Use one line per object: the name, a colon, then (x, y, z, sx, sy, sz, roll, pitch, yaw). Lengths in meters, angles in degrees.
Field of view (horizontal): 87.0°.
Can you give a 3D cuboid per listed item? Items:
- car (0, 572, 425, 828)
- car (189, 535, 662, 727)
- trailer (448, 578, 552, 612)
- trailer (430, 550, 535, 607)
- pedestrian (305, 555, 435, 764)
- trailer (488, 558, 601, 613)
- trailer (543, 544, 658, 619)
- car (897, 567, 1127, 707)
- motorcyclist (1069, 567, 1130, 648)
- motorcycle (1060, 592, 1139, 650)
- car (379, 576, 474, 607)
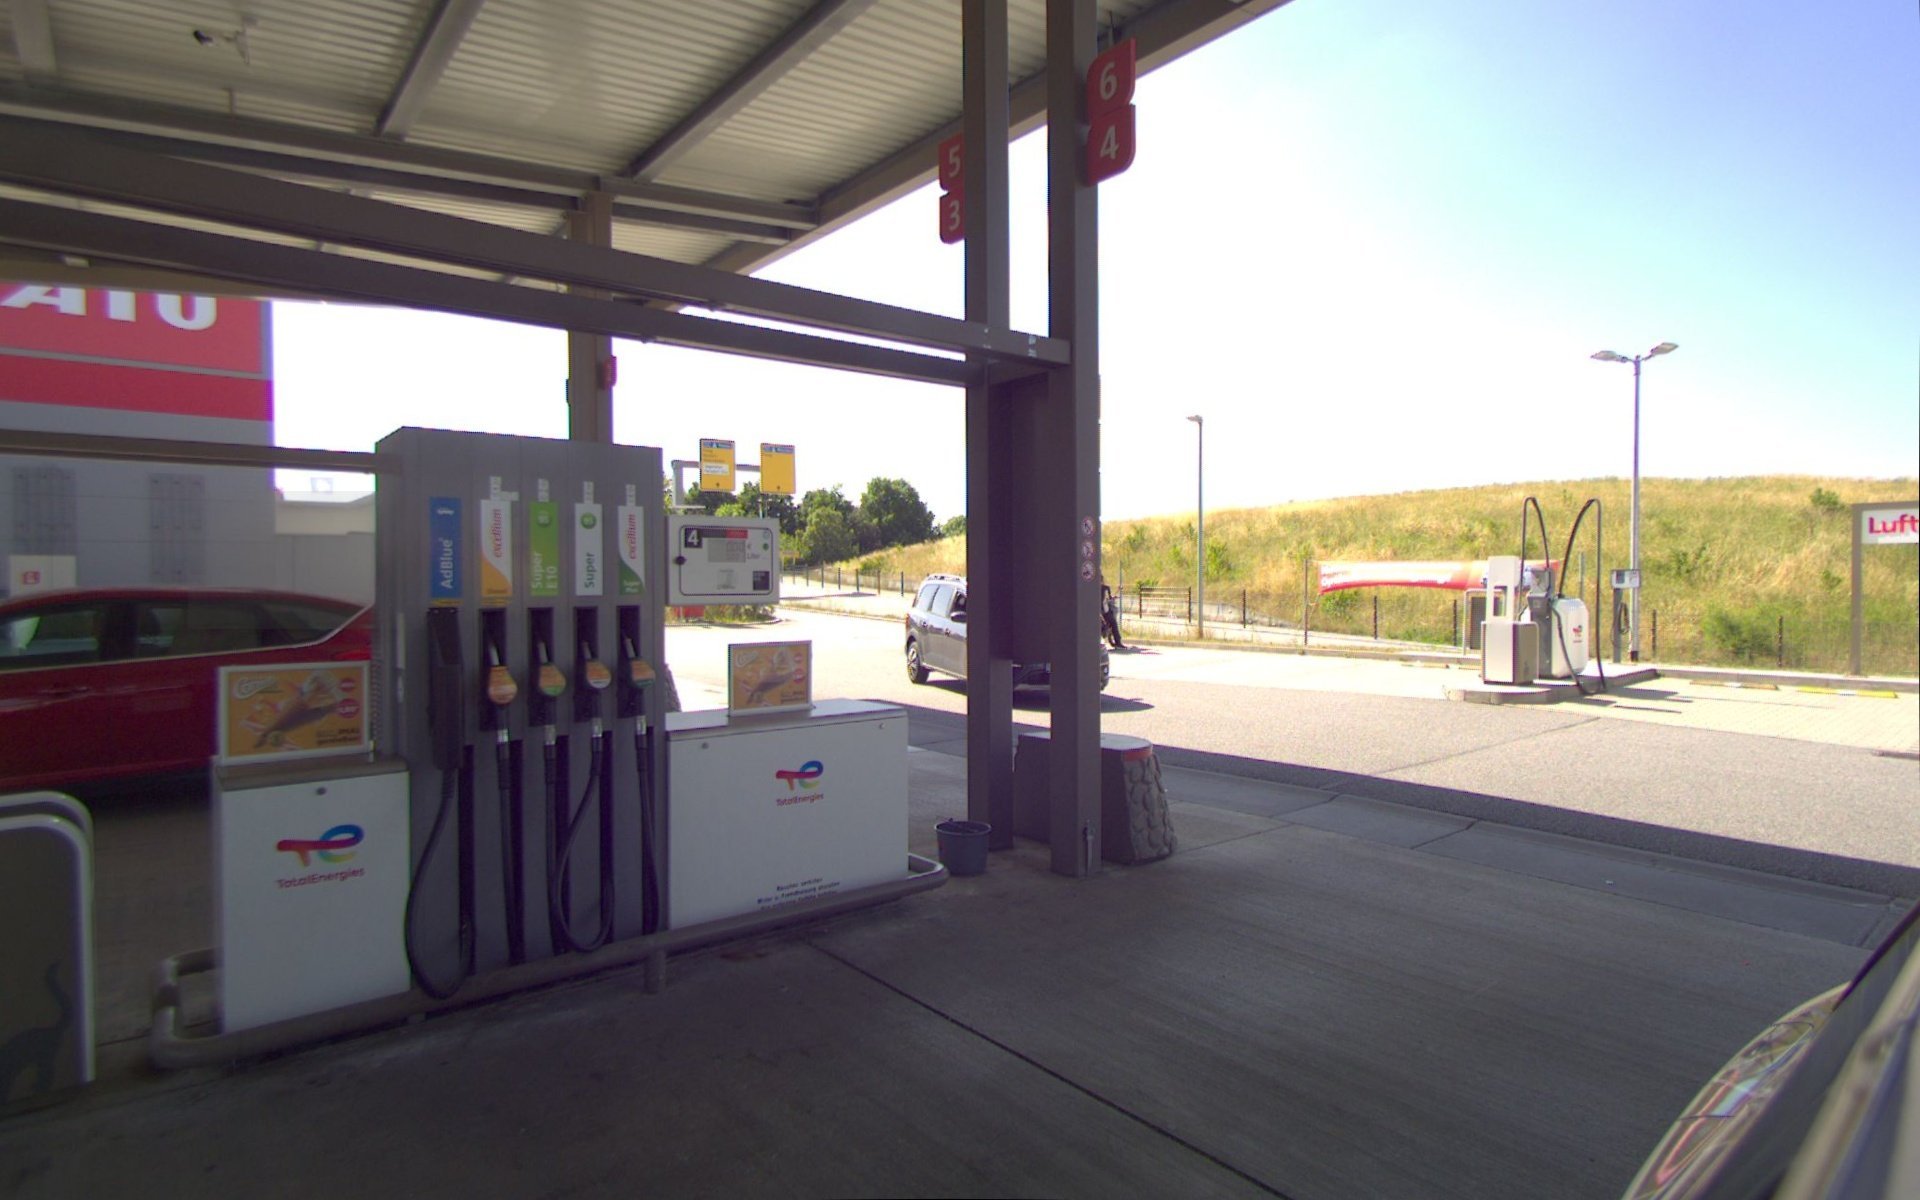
car: (-5.984, 0.564, 6.608, 4.158, 1.487, 1.702, -1, 1, -40)
car: (-6.260, 0.295, 12.178, 4.712, 1.874, 2.032, 1, 1, -40)
trailer: (-18.465, -0.223, 40.750, 1.562, 1.297, 3.686, 1, 1, 26)
trailer: (-21.335, -0.973, 45.394, 1.977, 2.457, 3.969, 1, 1, 23)
pedestrian: (-5.203, 0.482, 8.925, 0.911, 1.724, 0.703, 0, 1, -39)
trailer: (-16.201, -0.581, 39.627, 1.784, 2.039, 3.965, 1, 1, 26)
trailer: (-12.451, -0.647, 35.323, 1.970, 2.457, 3.985, 1, 1, 13)
car: (0.529, 0.399, 14.578, 1.707, 1.665, 4.642, 0, 1, -19)
motorcyclist: (3.046, 0.144, 22.017, 1.024, 1.709, 1.089, 1, 1, 26)
motorcycle: (3.083, 0.428, 22.138, 1.035, 1.119, 2.395, 1, 2, 26)
car: (-24.274, -0.403, 46.214, 1.659, 1.334, 3.816, 1, 1, 17)
